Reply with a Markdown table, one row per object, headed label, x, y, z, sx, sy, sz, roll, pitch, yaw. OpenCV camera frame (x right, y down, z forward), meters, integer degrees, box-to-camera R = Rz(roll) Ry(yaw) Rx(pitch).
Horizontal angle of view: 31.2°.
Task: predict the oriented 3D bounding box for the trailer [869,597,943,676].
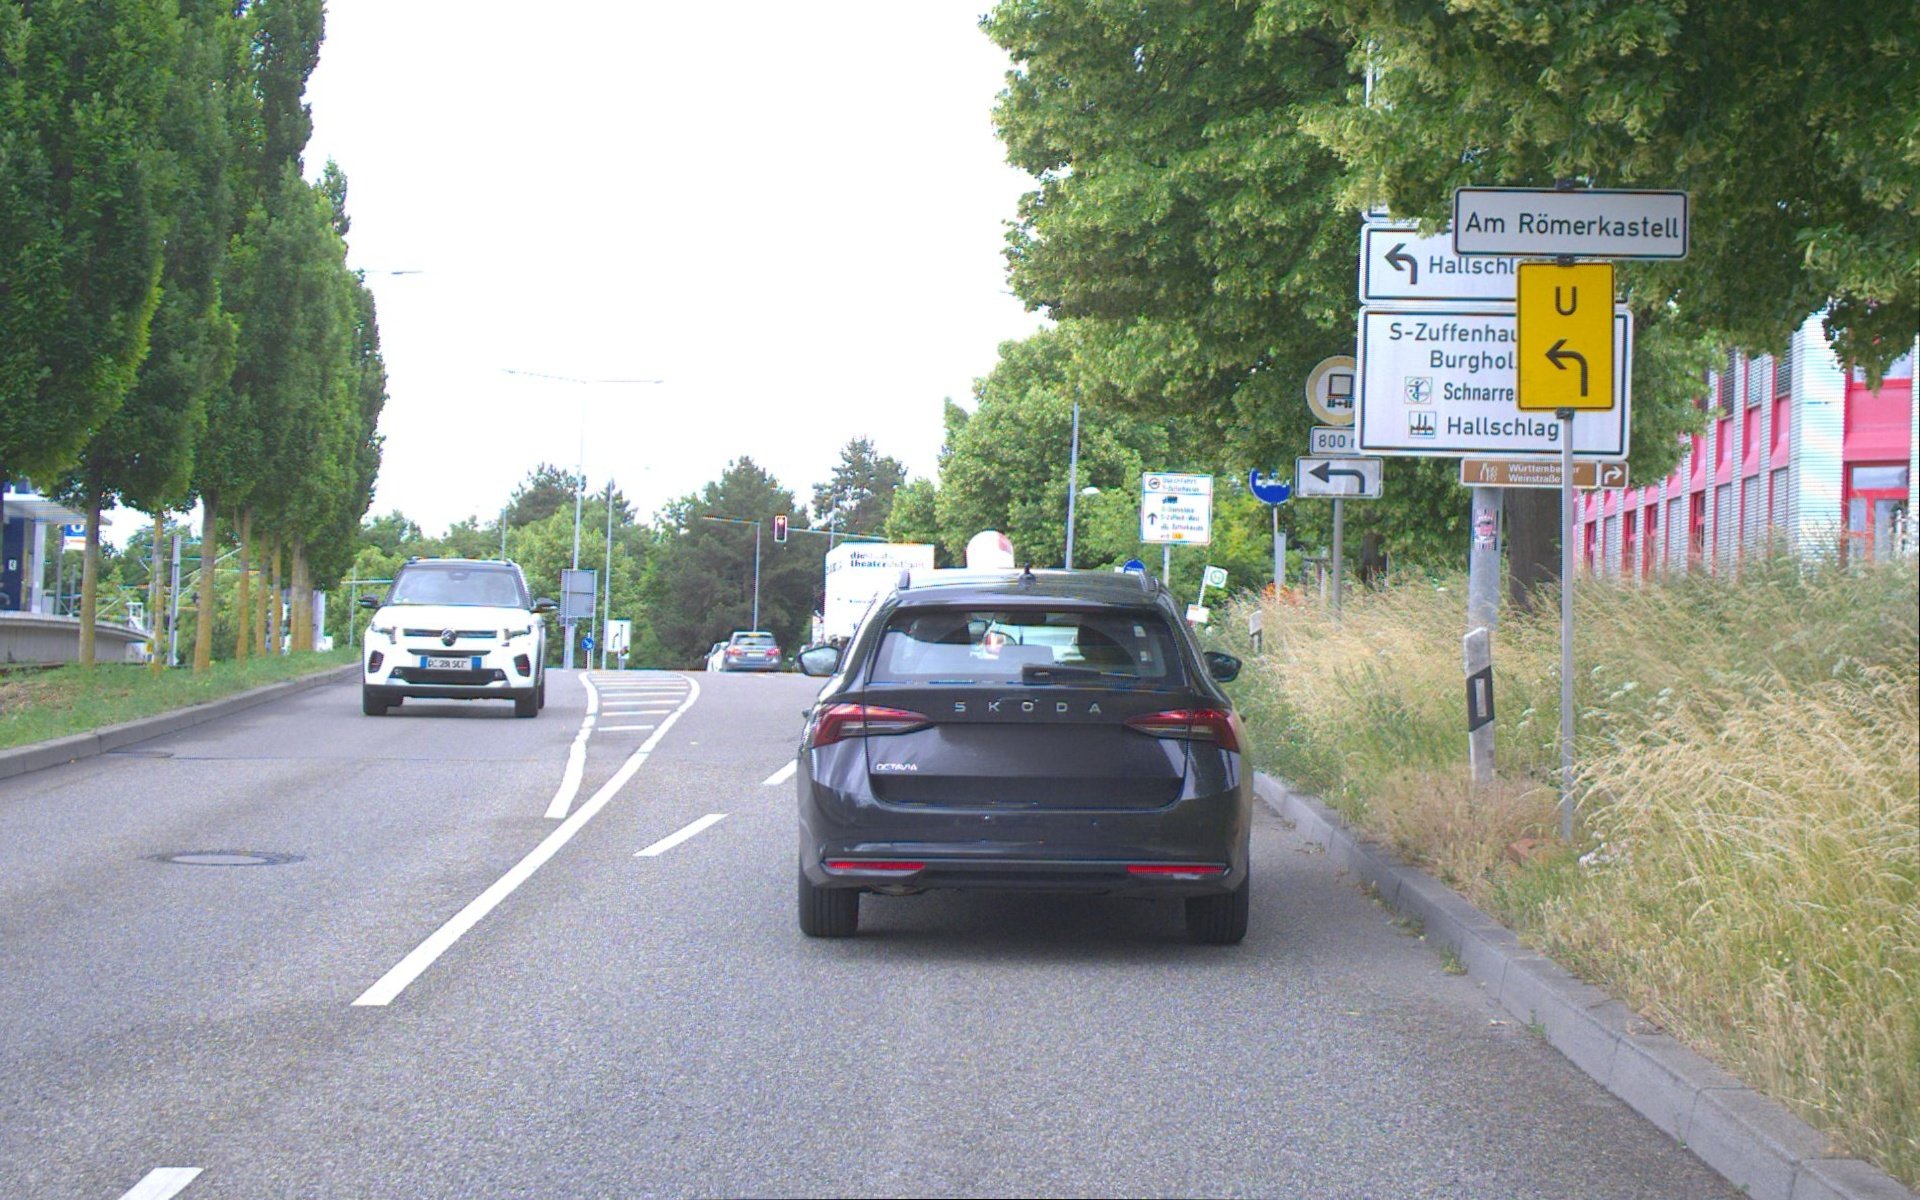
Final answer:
| label | x | y | z | sx | sy | sz | roll | pitch | yaw |
| --- | --- | --- | --- | --- | --- | --- | --- | --- | --- |
| trailer | -1.151 | 0.769 | 71.896 | 1.409 | 1.588 | 3.303 | 1 | -1 | -3 |

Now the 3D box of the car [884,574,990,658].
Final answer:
| label | x | y | z | sx | sy | sz | roll | pitch | yaw |
| --- | --- | --- | --- | --- | --- | --- | --- | --- | --- |
| car | -0.469 | 0.279 | 65.293 | 1.698 | 1.481 | 4.001 | 2 | 1 | -4 |

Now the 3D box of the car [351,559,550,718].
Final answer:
| label | x | y | z | sx | sy | sz | roll | pitch | yaw |
| --- | --- | --- | --- | --- | --- | --- | --- | --- | --- |
| car | -5.182 | 0.354 | 35.336 | 1.715 | 1.516 | 3.745 | 1 | 1 | -4 |

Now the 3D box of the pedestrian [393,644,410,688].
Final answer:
| label | x | y | z | sx | sy | sz | roll | pitch | yaw |
| --- | --- | --- | --- | --- | --- | --- | --- | --- | --- |
| pedestrian | -21.206 | 2.506 | 130.546 | 0.586 | 1.616 | 0.423 | 1 | 0 | -8 |

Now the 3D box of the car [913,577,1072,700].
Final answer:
| label | x | y | z | sx | sy | sz | roll | pitch | yaw |
| --- | --- | --- | --- | --- | --- | --- | --- | --- | --- |
| car | 0.374 | 0.472 | 43.697 | 1.718 | 1.452 | 3.697 | 1 | 0 | -4 |

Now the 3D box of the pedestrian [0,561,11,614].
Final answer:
| label | x | y | z | sx | sy | sz | roll | pitch | yaw |
| --- | --- | --- | --- | --- | --- | --- | --- | --- | --- |
| pedestrian | -23.300 | -0.310 | 83.098 | 0.609 | 1.265 | 0.660 | 1 | 0 | -11 |

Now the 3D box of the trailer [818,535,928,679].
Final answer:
| label | x | y | z | sx | sy | sz | roll | pitch | yaw |
| --- | --- | --- | --- | --- | --- | --- | --- | --- | --- |
| trailer | -2.571 | 0.289 | 99.209 | 2.565 | 3.694 | 7.764 | 1 | -3 | -5 |

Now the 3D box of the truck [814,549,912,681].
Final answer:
| label | x | y | z | sx | sy | sz | roll | pitch | yaw |
| --- | --- | --- | --- | --- | --- | --- | --- | --- | --- |
| truck | -2.936 | 0.486 | 103.004 | 2.570 | 3.694 | 4.106 | 1 | -3 | -6 |

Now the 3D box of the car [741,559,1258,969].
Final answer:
| label | x | y | z | sx | sy | sz | roll | pitch | yaw |
| --- | --- | --- | --- | --- | --- | --- | --- | --- | --- |
| car | 0.263 | 0.571 | 14.628 | 1.836 | 1.428 | 4.278 | 2 | 1 | 3 |

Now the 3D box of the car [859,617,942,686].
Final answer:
| label | x | y | z | sx | sy | sz | roll | pitch | yaw |
| --- | --- | --- | --- | --- | --- | --- | --- | --- | --- |
| car | -1.336 | 1.148 | 75.796 | 1.671 | 1.443 | 4.489 | 1 | -1 | -3 |

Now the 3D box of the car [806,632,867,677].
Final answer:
| label | x | y | z | sx | sy | sz | roll | pitch | yaw |
| --- | --- | --- | --- | --- | --- | --- | --- | --- | --- |
| car | -4.103 | 1.789 | 114.043 | 1.811 | 1.349 | 4.119 | 2 | 0 | -4 |

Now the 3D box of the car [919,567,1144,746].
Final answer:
| label | x | y | z | sx | sy | sz | roll | pitch | yaw |
| --- | --- | --- | --- | --- | --- | --- | --- | --- | --- |
| car | 0.578 | 0.457 | 30.631 | 1.623 | 1.452 | 3.689 | 1 | 1 | -5 |

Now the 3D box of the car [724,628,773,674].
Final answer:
| label | x | y | z | sx | sy | sz | roll | pitch | yaw |
| --- | --- | --- | --- | --- | --- | --- | --- | --- | --- |
| car | -6.884 | 1.647 | 111.678 | 1.525 | 1.349 | 3.491 | 1 | 1 | -4 |

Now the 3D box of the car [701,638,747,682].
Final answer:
| label | x | y | z | sx | sy | sz | roll | pitch | yaw |
| --- | --- | --- | --- | --- | --- | --- | --- | --- | --- |
| car | -8.668 | 2.209 | 126.035 | 1.535 | 1.499 | 2.670 | 1 | -3 | -6 |

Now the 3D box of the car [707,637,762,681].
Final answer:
| label | x | y | z | sx | sy | sz | roll | pitch | yaw |
| --- | --- | --- | --- | --- | --- | --- | --- | --- | --- |
| car | -7.944 | 2.092 | 120.929 | 1.721 | 1.417 | 4.357 | 1 | -2 | -6 |

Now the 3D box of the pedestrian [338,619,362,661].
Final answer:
| label | x | y | z | sx | sy | sz | roll | pitch | yaw |
| --- | --- | --- | --- | --- | --- | --- | --- | --- | --- |
| pedestrian | -23.064 | 1.506 | 129.996 | 0.863 | 1.555 | 0.518 | 1 | 0 | -8 |
